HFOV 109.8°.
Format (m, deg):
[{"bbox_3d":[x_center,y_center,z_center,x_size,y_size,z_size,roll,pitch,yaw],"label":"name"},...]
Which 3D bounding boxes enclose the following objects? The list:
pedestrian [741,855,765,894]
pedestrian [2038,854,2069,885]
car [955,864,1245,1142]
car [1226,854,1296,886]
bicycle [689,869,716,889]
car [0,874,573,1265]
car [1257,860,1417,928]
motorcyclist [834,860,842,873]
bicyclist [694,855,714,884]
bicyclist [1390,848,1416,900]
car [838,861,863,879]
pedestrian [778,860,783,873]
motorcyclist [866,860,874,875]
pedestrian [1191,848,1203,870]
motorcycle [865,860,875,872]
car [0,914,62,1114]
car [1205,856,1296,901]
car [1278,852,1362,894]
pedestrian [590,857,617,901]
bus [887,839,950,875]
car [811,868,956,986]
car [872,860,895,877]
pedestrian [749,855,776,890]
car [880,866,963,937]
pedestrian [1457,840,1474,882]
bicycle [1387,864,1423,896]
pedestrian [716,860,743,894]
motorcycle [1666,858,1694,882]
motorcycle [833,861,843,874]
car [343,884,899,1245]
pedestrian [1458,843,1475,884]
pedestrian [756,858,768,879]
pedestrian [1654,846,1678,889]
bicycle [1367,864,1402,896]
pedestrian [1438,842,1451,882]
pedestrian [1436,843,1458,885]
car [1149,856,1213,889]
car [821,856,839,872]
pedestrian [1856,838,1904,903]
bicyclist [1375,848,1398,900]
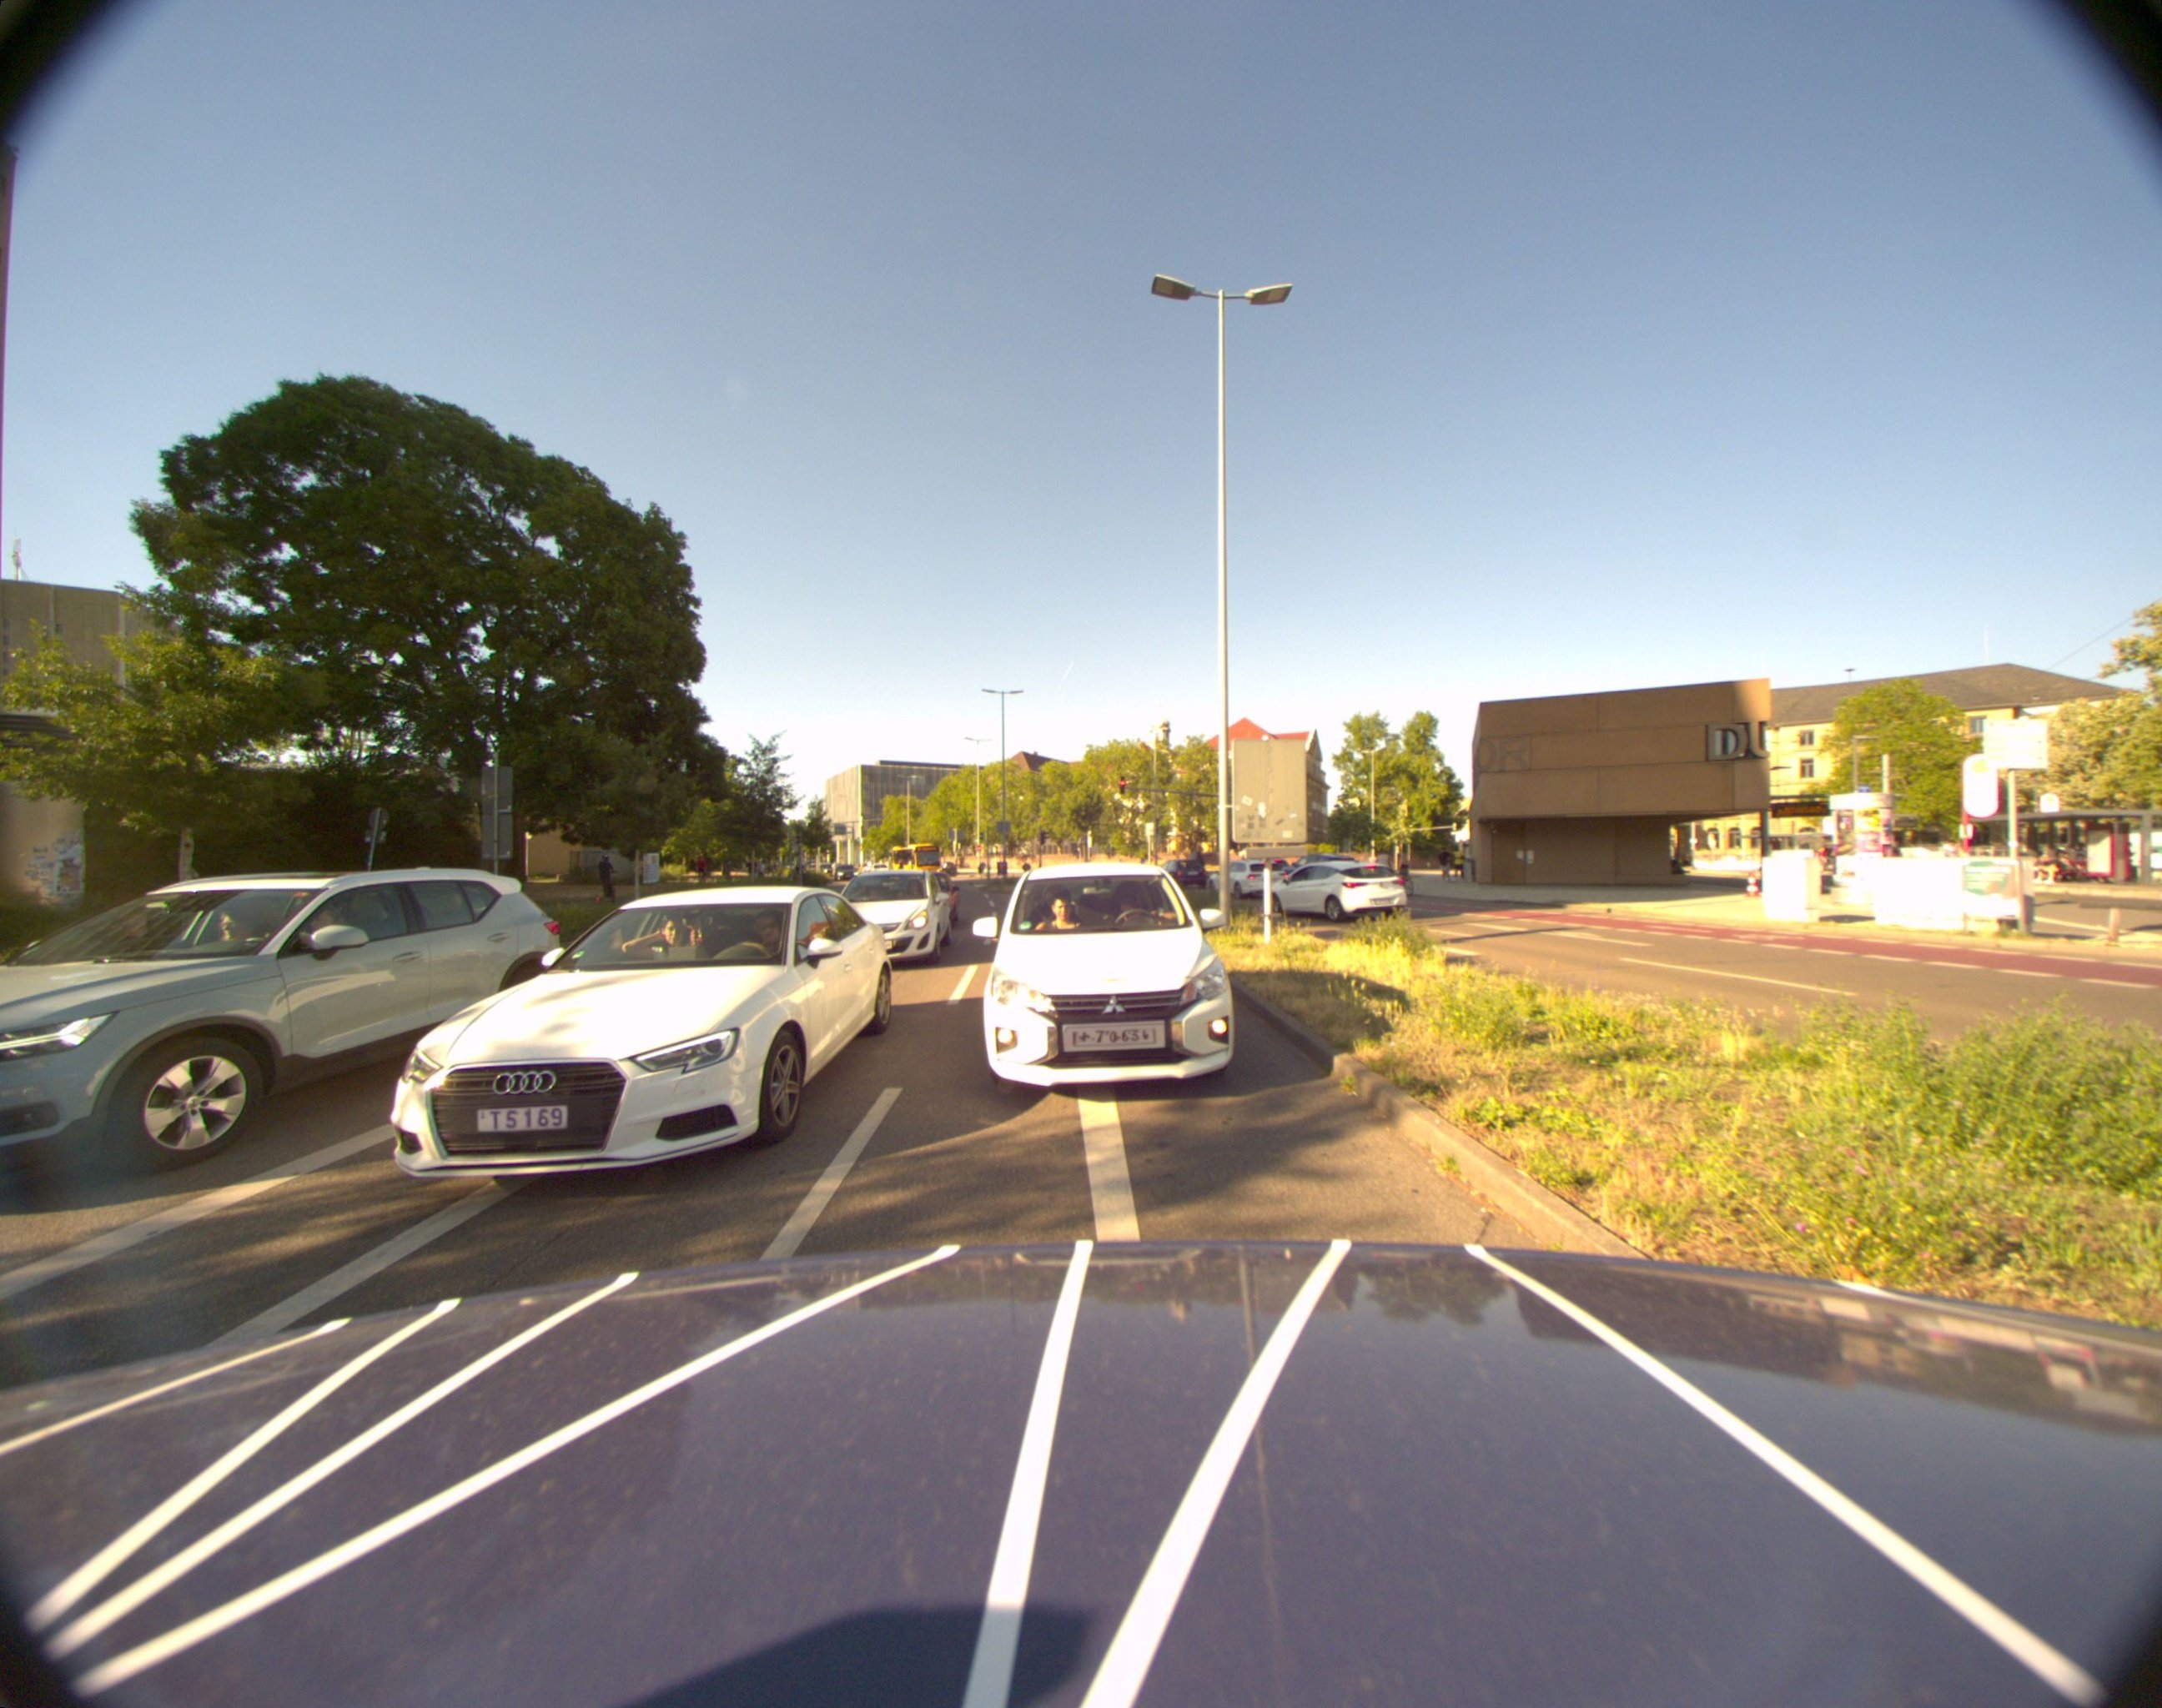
[{"bbox_3d":[-17.732,1.093,41.093,0.895,2.002,0.881,-2,1,-10],"label":"pedestrian"},{"bbox_3d":[38.993,0.613,30.462,0.539,1.180,0.659,-2,1,29],"label":"pedestrian"},{"bbox_3d":[0.062,0.893,6.432,1.628,1.451,4.040,-2,1,-2],"label":"car"},{"bbox_3d":[9.078,0.778,38.777,1.850,1.483,4.388,1,0,-10],"label":"car"},{"bbox_3d":[-20.574,1.342,41.357,0.660,0.958,2.033,0,1,-7],"label":"bicycle"},{"bbox_3d":[-5.744,1.052,5.257,1.628,1.611,4.223,-2,1,-2],"label":"car"},{"bbox_3d":[6.414,0.925,19.594,1.758,1.451,4.182,-2,1,-17],"label":"car"},{"bbox_3d":[-25.484,1.317,79.692,0.719,1.297,0.734,-3,1,-22],"label":"motorcyclist"},{"bbox_3d":[-20.555,0.845,41.442,0.617,1.551,0.870,-2,1,-8],"label":"bicyclist"},{"bbox_3d":[12.477,0.756,29.426,0.611,2.002,0.708,-1,1,-15],"label":"bicyclist"},{"bbox_3d":[-20.696,1.373,68.156,1.758,1.451,4.181,-3,1,-21],"label":"car"},{"bbox_3d":[-40.133,1.673,101.512,0.399,1.676,0.483,-1,1,1],"label":"pedestrian"},{"bbox_3d":[-22.325,1.408,80.436,0.712,1.581,0.689,-3,1,-22],"label":"motorcyclist"},{"bbox_3d":[10.229,0.424,66.860,0.797,1.886,0.612,0,1,40],"label":"pedestrian"},{"bbox_3d":[-22.411,1.267,80.645,0.719,1.297,2.230,-3,1,-23],"label":"motorcycle"},{"bbox_3d":[-8.752,1.240,3.882,1.628,1.451,4.040,-2,1,-2],"label":"car"},{"bbox_3d":[6.435,0.889,29.359,1.850,1.483,4.388,-2,1,-10],"label":"car"},{"bbox_3d":[10.378,0.769,33.319,1.757,1.680,4.185,-1,0,-10],"label":"car"},{"bbox_3d":[-17.677,0.901,28.151,0.596,1.585,0.594,-2,1,-8],"label":"pedestrian"},{"bbox_3d":[-16.389,0.336,75.501,3.091,3.193,12.518,-3,1,-26],"label":"bus"},{"bbox_3d":[-3.068,1.048,12.579,1.628,1.451,4.039,-2,1,-5],"label":"car"},{"bbox_3d":[-18.485,1.355,71.020,1.758,1.451,4.182,-3,1,-19],"label":"car"},{"bbox_3d":[-18.841,1.093,44.934,1.143,2.002,1.285,-2,1,-10],"label":"pedestrian"},{"bbox_3d":[-3.890,1.097,19.096,1.628,1.451,4.039,-2,1,-7],"label":"car"},{"bbox_3d":[18.735,0.337,37.010,0.655,2.002,0.469,-2,1,20],"label":"pedestrian"},{"bbox_3d":[12.513,0.982,29.378,0.464,1.185,1.395,-3,1,-17],"label":"bicycle"},{"bbox_3d":[-18.612,1.217,40.248,1.010,1.711,0.884,-2,1,-10],"label":"pedestrian"},{"bbox_3d":[26.221,0.706,33.262,0.948,1.061,0.331,-1,1,39],"label":"motorcycle"},{"bbox_3d":[-25.483,1.391,79.688,0.719,1.297,2.230,-3,1,-24],"label":"motorcycle"},{"bbox_3d":[-2.548,1.036,5.390,1.628,1.396,3.832,-2,1,-2],"label":"car"},{"bbox_3d":[19.116,0.454,37.639,0.655,2.002,0.469,-2,1,20],"label":"pedestrian"},{"bbox_3d":[-30.284,1.376,72.081,0.852,2.002,0.833,-3,1,-15],"label":"pedestrian"},{"bbox_3d":[27.877,0.625,36.208,0.780,2.002,0.771,-3,2,-42],"label":"pedestrian"},{"bbox_3d":[11.778,1.009,29.492,0.464,1.185,1.395,-3,1,-17],"label":"bicycle"},{"bbox_3d":[18.445,0.380,38.548,0.467,2.002,0.657,-2,1,17],"label":"pedestrian"},{"bbox_3d":[17.990,0.501,37.352,0.777,2.002,0.773,-2,1,13],"label":"pedestrian"},{"bbox_3d":[4.836,0.844,37.347,1.757,1.451,4.184,-2,1,-12],"label":"car"},{"bbox_3d":[-28.753,1.110,87.072,1.748,1.696,3.993,-1,0,-21],"label":"car"},{"bbox_3d":[22.225,0.454,21.142,0.713,1.748,0.583,-2,1,20],"label":"pedestrian"},{"bbox_3d":[11.777,0.765,29.320,0.611,2.002,0.565,-1,1,-15],"label":"bicyclist"}]
